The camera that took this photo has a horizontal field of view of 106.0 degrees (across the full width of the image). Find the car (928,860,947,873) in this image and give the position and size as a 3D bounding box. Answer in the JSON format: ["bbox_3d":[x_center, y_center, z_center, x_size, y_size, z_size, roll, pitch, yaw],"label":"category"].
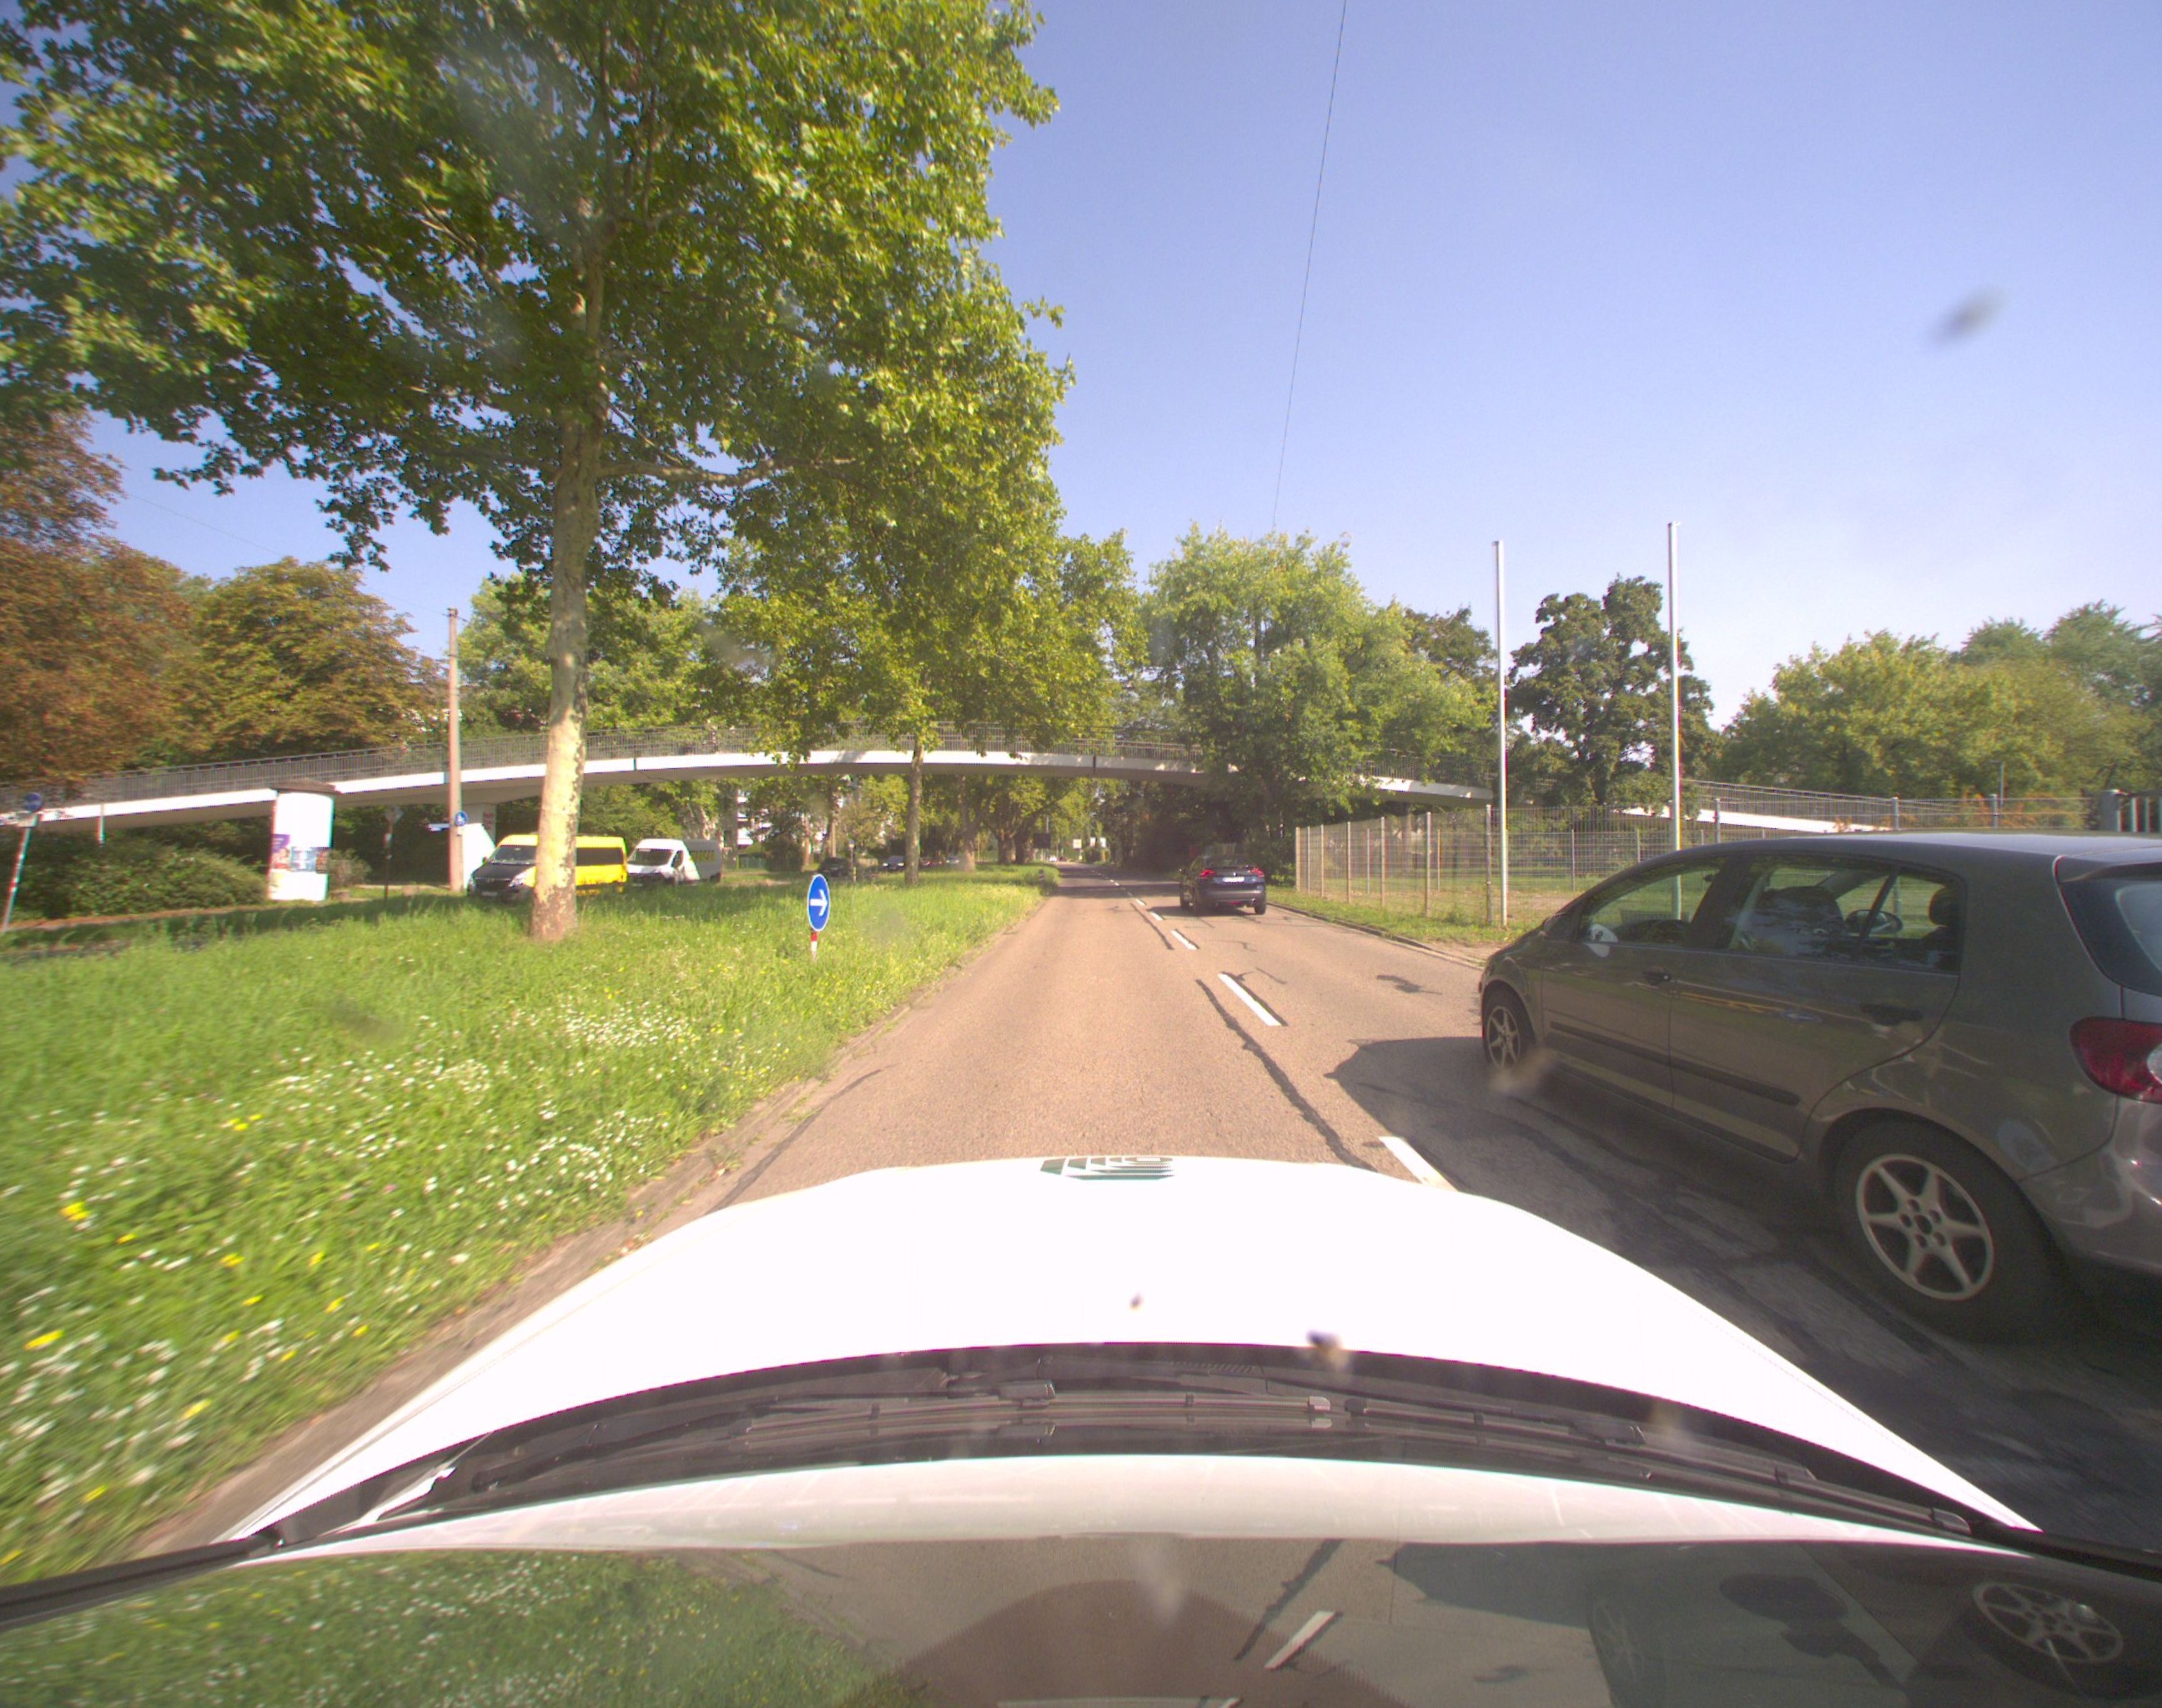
[{"bbox_3d":[-17.496,1.459,99.331,1.687,1.533,4.065,0,0,-3],"label":"car"}]

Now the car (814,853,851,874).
[{"bbox_3d":[-19.296,0.723,63.368,1.516,1.533,3.867,-1,0,3],"label":"car"}]

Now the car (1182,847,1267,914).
[{"bbox_3d":[3.675,0.651,21.489,1.639,1.588,4.256,0,-1,2],"label":"car"}]

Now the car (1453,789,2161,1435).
[{"bbox_3d":[3.446,0.638,3.857,1.639,1.556,3.899,0,-1,1],"label":"car"}]

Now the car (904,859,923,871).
[{"bbox_3d":[-20.417,1.341,99.299,1.534,1.451,4.061,0,-1,-2],"label":"car"}]

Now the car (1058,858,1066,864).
[{"bbox_3d":[-4.936,1.821,208.974,1.794,1.401,3.994,0,-1,-4],"label":"car"}]

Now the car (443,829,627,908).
[{"bbox_3d":[-18.897,0.487,28.706,2.199,2.479,6.063,0,-1,2],"label":"car"}]

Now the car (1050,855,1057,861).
[{"bbox_3d":[-6.763,0.948,197.155,1.683,1.462,3.996,0,-1,-2],"label":"car"}]

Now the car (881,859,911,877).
[{"bbox_3d":[-16.736,1.251,73.794,1.783,1.533,4.452,0,-1,-2],"label":"car"}]

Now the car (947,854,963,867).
[{"bbox_3d":[-18.220,0.941,117.893,1.797,1.719,4.717,-1,0,-2],"label":"car"}]

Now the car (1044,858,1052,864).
[{"bbox_3d":[-8.606,1.791,212.916,1.681,1.462,3.850,0,-1,1],"label":"car"}]

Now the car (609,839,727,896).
[{"bbox_3d":[-18.798,0.601,37.507,2.200,2.430,6.264,0,-1,0],"label":"car"}]
